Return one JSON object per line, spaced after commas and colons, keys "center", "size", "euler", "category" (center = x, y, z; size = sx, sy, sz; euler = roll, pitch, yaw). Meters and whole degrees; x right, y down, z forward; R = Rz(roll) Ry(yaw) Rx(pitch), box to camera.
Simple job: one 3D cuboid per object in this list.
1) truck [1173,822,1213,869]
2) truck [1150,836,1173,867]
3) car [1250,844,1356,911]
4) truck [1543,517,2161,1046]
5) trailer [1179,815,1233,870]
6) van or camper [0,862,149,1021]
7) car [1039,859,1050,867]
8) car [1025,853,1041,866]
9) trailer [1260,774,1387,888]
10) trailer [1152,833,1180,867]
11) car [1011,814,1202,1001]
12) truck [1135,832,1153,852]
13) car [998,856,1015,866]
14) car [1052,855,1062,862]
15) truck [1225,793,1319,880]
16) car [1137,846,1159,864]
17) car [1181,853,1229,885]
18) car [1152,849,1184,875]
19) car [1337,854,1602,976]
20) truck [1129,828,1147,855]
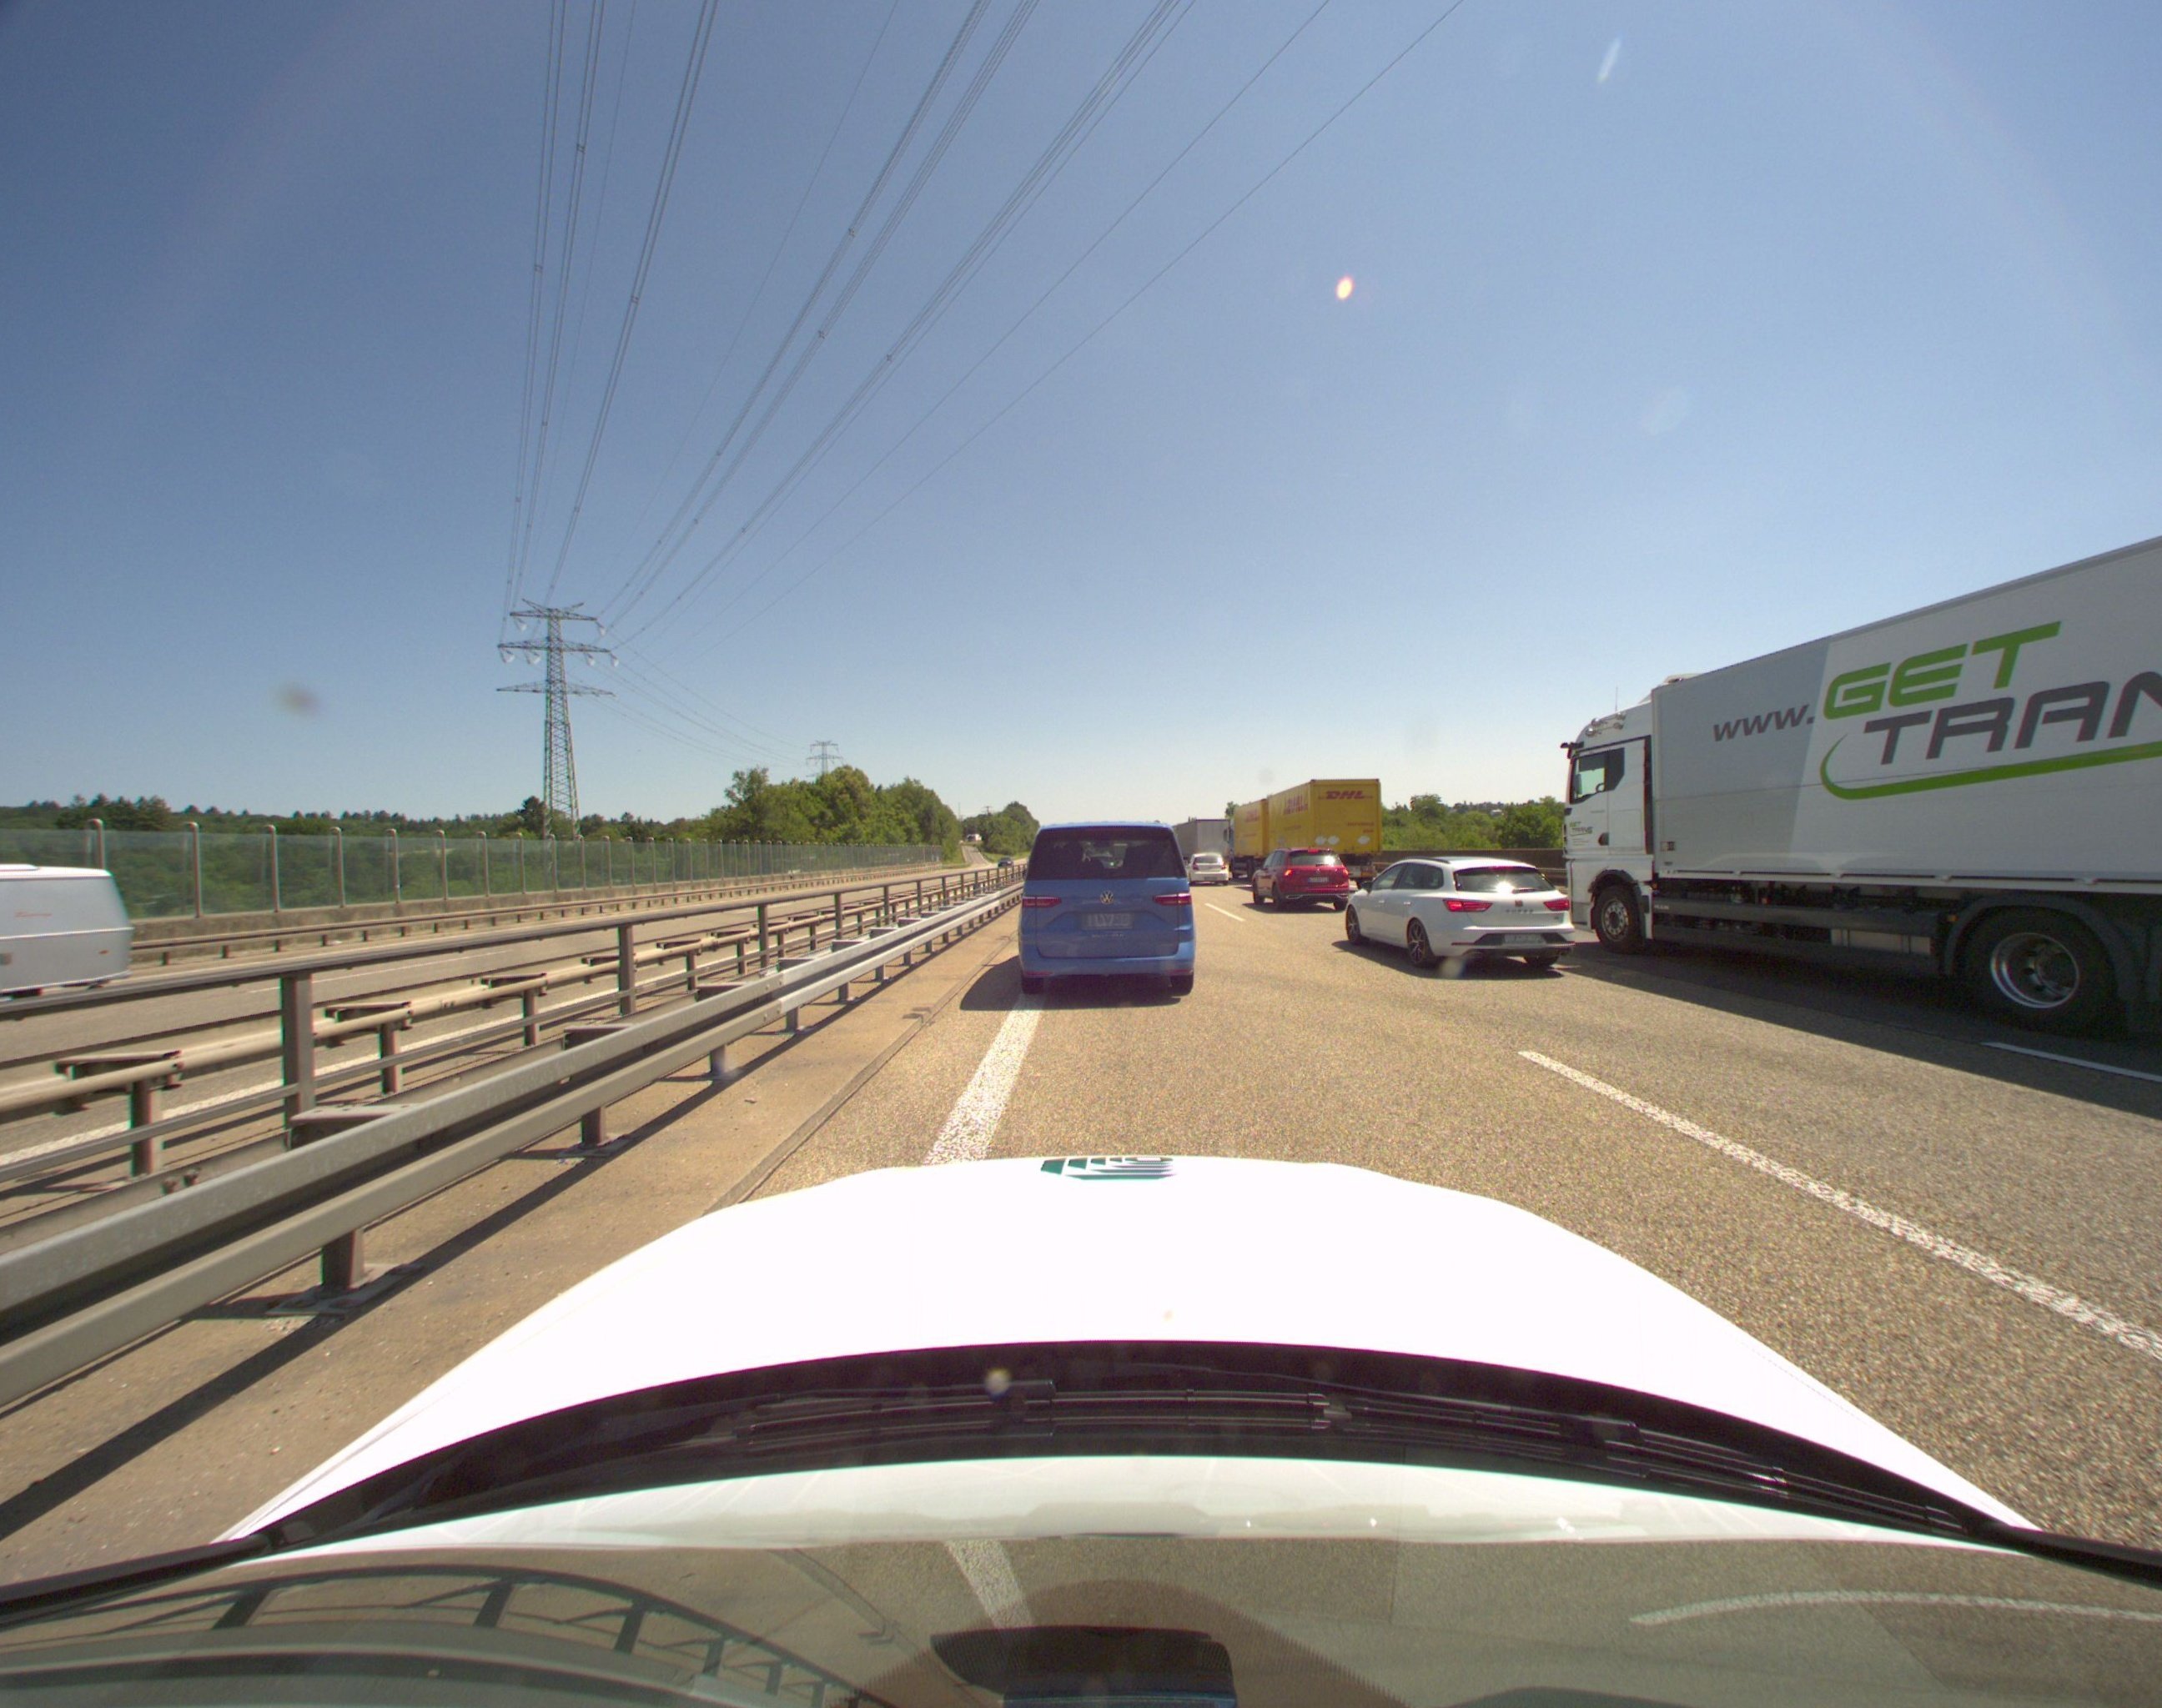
{"center": [10.158, -0.717, 74.373], "size": [2.759, 4.095, 6.984], "euler": [0, -1, 1], "category": "truck"}
{"center": [10.154, -0.301, 102.767], "size": [2.359, 3.722, 6.034], "euler": [0, -1, 1], "category": "truck"}
{"center": [5.847, 0.573, 21.943], "size": [1.844, 1.608, 4.001], "euler": [-1, 0, 1], "category": "car"}
{"center": [8.806, -0.515, 7.738], "size": [2.841, 3.602, 10.769], "euler": [0, 0, 1], "category": "truck"}
{"center": [10.092, -0.784, 66.954], "size": [2.746, 4.146, 11.310], "euler": [0, -1, 0], "category": "trailer"}
{"center": [-16.037, 1.272, 10.292], "size": [1.987, 2.211, 5.537], "euler": [-4, -1, 1], "category": "van or camper"}
{"center": [-6.047, 1.461, 134.472], "size": [1.577, 1.298, 3.892], "euler": [-3, 0, 1], "category": "car"}
{"center": [-6.326, 0.729, 107.804], "size": [1.834, 1.529, 3.559], "euler": [-3, 0, 1], "category": "car"}
{"center": [9.575, -0.761, 33.333], "size": [2.692, 4.023, 8.932], "euler": [0, -1, 1], "category": "trailer"}
{"center": [10.065, -0.374, 97.132], "size": [2.371, 3.744, 11.189], "euler": [0, -1, 1], "category": "trailer"}
{"center": [0.305, 0.533, 10.130], "size": [1.875, 1.837, 4.001], "euler": [-1, 0, 1], "category": "car"}
{"center": [11.114, -2.052, 144.265], "size": [2.348, 3.218, 9.738], "euler": [0, -1, 0], "category": "truck"}
{"center": [-10.049, 0.978, 110.016], "size": [1.794, 1.386, 4.264], "euler": [0, -1, 1], "category": "car"}
{"center": [-4.876, 0.867, 167.023], "size": [1.835, 1.446, 4.420], "euler": [0, -1, 1], "category": "car"}
{"center": [9.770, -0.770, 42.977], "size": [2.712, 4.054, 10.337], "euler": [0, -1, 1], "category": "truck"}
{"center": [6.109, 0.090, 74.676], "size": [1.709, 1.540, 3.822], "euler": [-3, 0, 1], "category": "car"}
{"center": [5.819, 0.668, 38.586], "size": [1.831, 1.414, 4.002], "euler": [-1, 0, 2], "category": "car"}
{"center": [5.684, 0.554, 53.564], "size": [1.709, 1.587, 3.821], "euler": [-1, -1, 1], "category": "car"}
{"center": [5.177, 0.708, 11.560], "size": [1.775, 1.387, 4.188], "euler": [-1, 0, 0], "category": "car"}
{"center": [11.387, -2.478, 163.843], "size": [2.824, 5.040, 11.143], "euler": [0, -1, 0], "category": "truck"}
